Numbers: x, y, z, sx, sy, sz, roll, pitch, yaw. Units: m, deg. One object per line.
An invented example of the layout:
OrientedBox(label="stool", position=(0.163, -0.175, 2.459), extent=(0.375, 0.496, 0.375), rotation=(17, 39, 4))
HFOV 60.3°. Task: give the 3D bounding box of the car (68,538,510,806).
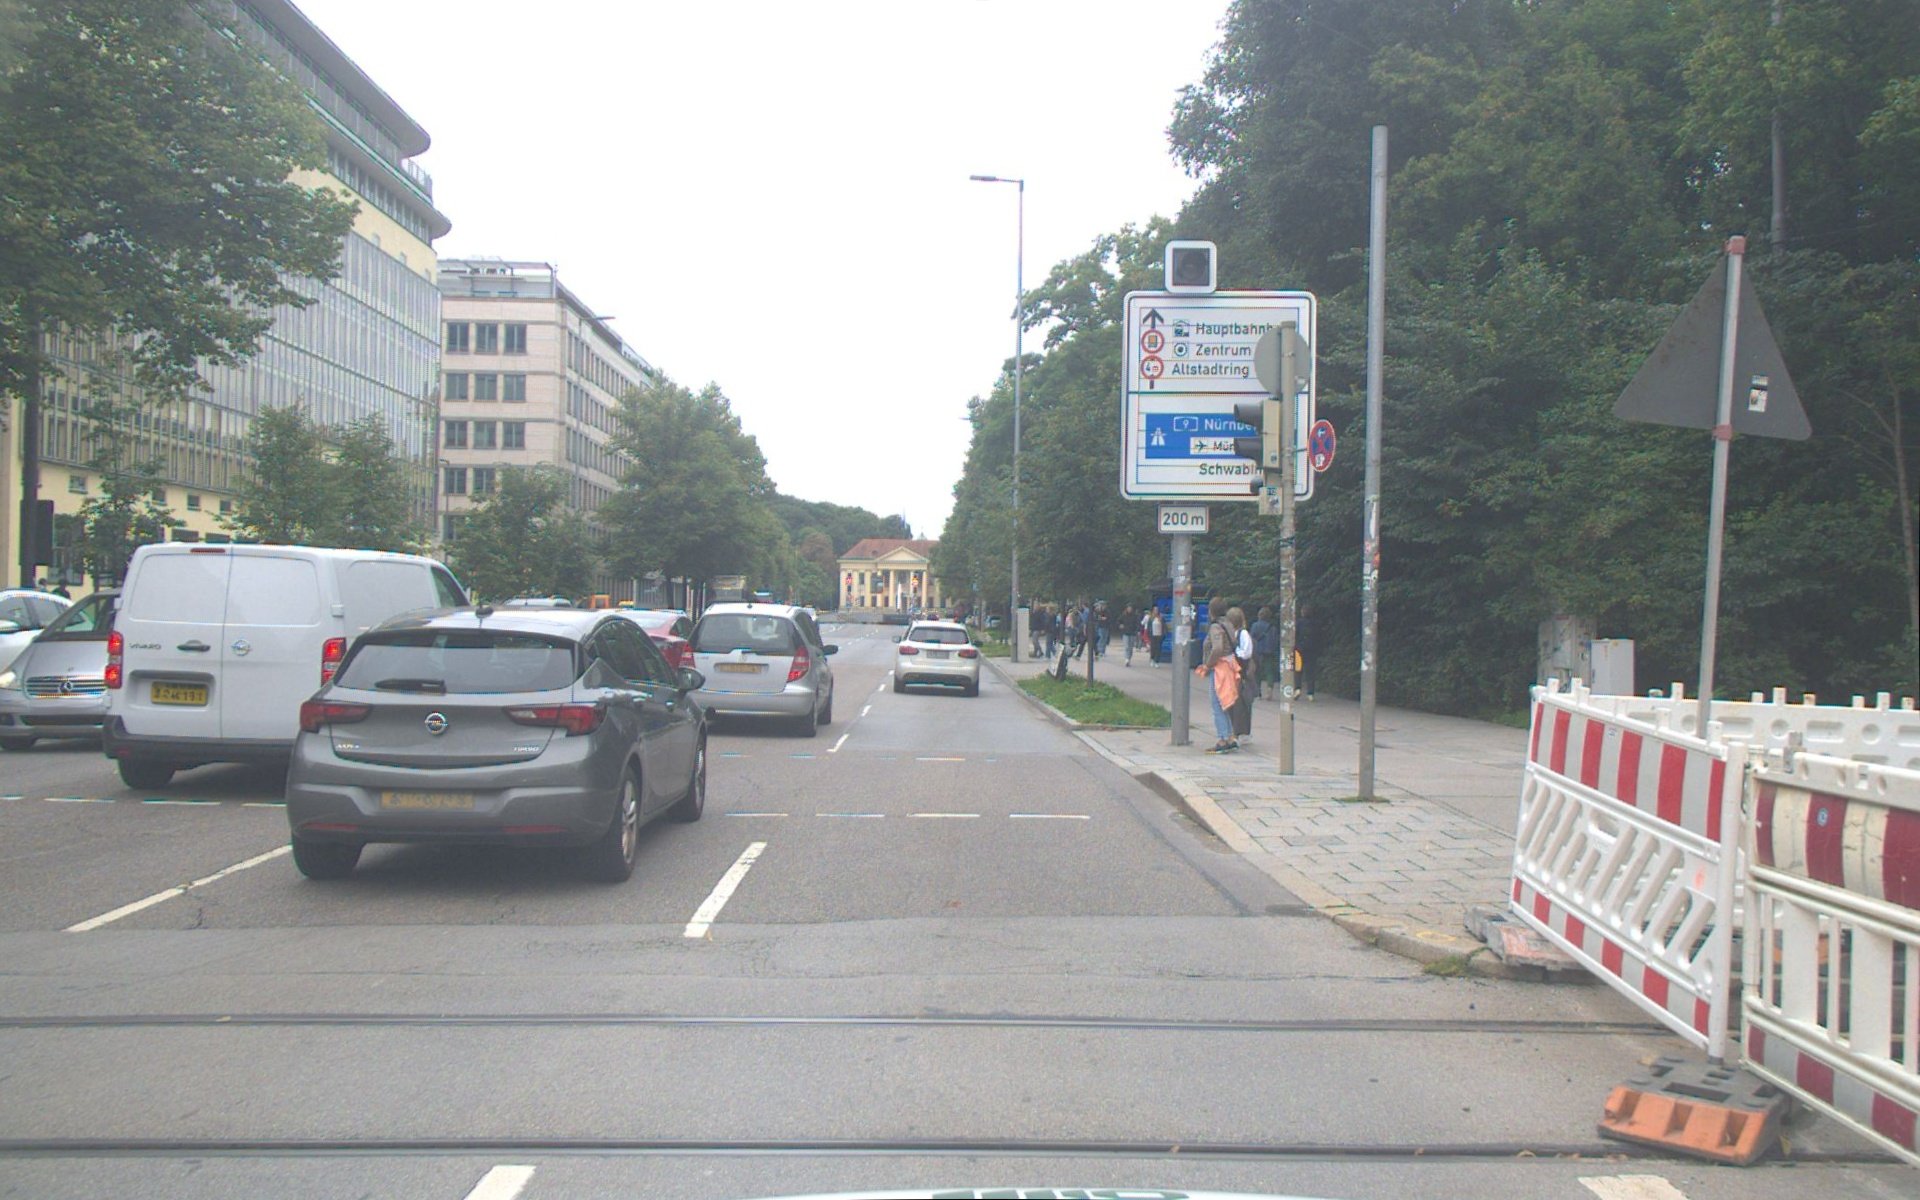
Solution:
OrientedBox(label="car", position=(-5.469, 0.570, 14.316), extent=(1.860, 1.880, 4.953), rotation=(1, -1, -2))

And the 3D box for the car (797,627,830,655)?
OrientedBox(label="car", position=(-9.687, 2.692, 109.465), extent=(1.784, 1.758, 3.880), rotation=(3, -1, -1))

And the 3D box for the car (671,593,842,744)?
OrientedBox(label="car", position=(-2.526, 0.836, 21.393), extent=(1.743, 1.683, 3.998), rotation=(3, -1, -1))

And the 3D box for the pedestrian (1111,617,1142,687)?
OrientedBox(label="pedestrian", position=(4.753, 1.472, 47.358), extent=(0.693, 1.949, 0.956), rotation=(2, -1, -1))

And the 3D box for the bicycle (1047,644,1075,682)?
OrientedBox(label="bicycle", position=(2.304, 1.442, 37.866), extent=(0.483, 0.808, 1.889), rotation=(2, -1, -1))

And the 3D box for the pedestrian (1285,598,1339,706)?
OrientedBox(label="pedestrian", position=(6.277, 0.916, 29.551), extent=(0.735, 1.871, 0.756), rotation=(2, -1, 0))

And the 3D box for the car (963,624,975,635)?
OrientedBox(label="car", position=(1.229, 4.222, 234.736), extent=(1.689, 1.347, 4.028), rotation=(1, 1, 0))

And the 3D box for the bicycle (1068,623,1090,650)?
OrientedBox(label="bicycle", position=(4.795, 1.472, 66.737), extent=(0.661, 1.048, 2.012), rotation=(3, -1, -1))

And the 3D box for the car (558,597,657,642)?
OrientedBox(label="car", position=(-21.279, 1.197, 100.143), extent=(5.570, 2.581, 2.154), rotation=(1, -1, -5))

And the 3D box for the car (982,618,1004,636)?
OrientedBox(label="car", position=(2.982, 2.485, 150.250), extent=(1.790, 1.577, 4.750), rotation=(1, -1, 0))

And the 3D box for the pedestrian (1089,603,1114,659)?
OrientedBox(label="pedestrian", position=(4.824, 1.054, 56.356), extent=(0.693, 1.840, 0.950), rotation=(2, -1, -1))

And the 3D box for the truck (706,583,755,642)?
OrientedBox(label="truck", position=(-16.037, 0.909, 116.220), extent=(2.859, 3.841, 7.657), rotation=(3, -1, -5))

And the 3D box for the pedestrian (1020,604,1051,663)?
OrientedBox(label="pedestrian", position=(2.524, 1.125, 55.147), extent=(0.790, 1.914, 0.542), rotation=(2, -2, 35))

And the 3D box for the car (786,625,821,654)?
OrientedBox(label="car", position=(-9.949, 2.524, 105.491), extent=(1.819, 1.779, 4.628), rotation=(0, -1, -1))

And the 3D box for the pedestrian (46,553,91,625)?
OrientedBox(label="pedestrian", position=(-22.843, -0.275, 42.371), extent=(0.603, 1.808, 0.835), rotation=(2, -1, -1))

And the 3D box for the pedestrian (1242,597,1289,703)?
OrientedBox(label="pedestrian", position=(5.509, 0.901, 29.874), extent=(0.657, 1.871, 0.641), rotation=(2, -1, 0))

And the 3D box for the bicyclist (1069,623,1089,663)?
OrientedBox(label="bicyclist", position=(4.793, 1.740, 66.771), extent=(0.693, 1.589, 0.638), rotation=(2, -1, -1))

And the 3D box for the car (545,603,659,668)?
OrientedBox(label="car", position=(-8.449, 0.823, 39.437), extent=(1.731, 1.448, 4.746), rotation=(0, -1, -1))

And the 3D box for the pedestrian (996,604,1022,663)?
OrientedBox(label="pedestrian", position=(1.550, 1.056, 52.291), extent=(0.693, 1.840, 0.638), rotation=(2, -1, -1))

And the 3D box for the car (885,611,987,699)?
OrientedBox(label="car", position=(-0.562, 1.120, 34.750), extent=(1.745, 1.673, 3.994), rotation=(3, -1, -6))

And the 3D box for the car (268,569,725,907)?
OrientedBox(label="car", position=(-2.548, 0.710, 10.097), extent=(1.676, 1.579, 3.998), rotation=(3, -1, -1))

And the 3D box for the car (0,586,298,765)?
OrientedBox(label="car", position=(-8.391, 0.707, 16.997), extent=(1.601, 1.599, 3.945), rotation=(1, -1, -1))

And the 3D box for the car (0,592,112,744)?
OrientedBox(label="car", position=(-11.169, 0.746, 18.240), extent=(1.709, 1.624, 3.998), rotation=(-1, 0, -3))

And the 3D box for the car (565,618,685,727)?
OrientedBox(label="car", position=(-5.739, 1.198, 28.720), extent=(1.746, 1.683, 3.992), rotation=(3, -1, -8))

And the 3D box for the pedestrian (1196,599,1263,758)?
OrientedBox(label="pedestrian", position=(3.090, 0.889, 19.008), extent=(0.597, 1.792, 0.635), rotation=(1, -1, -6))
